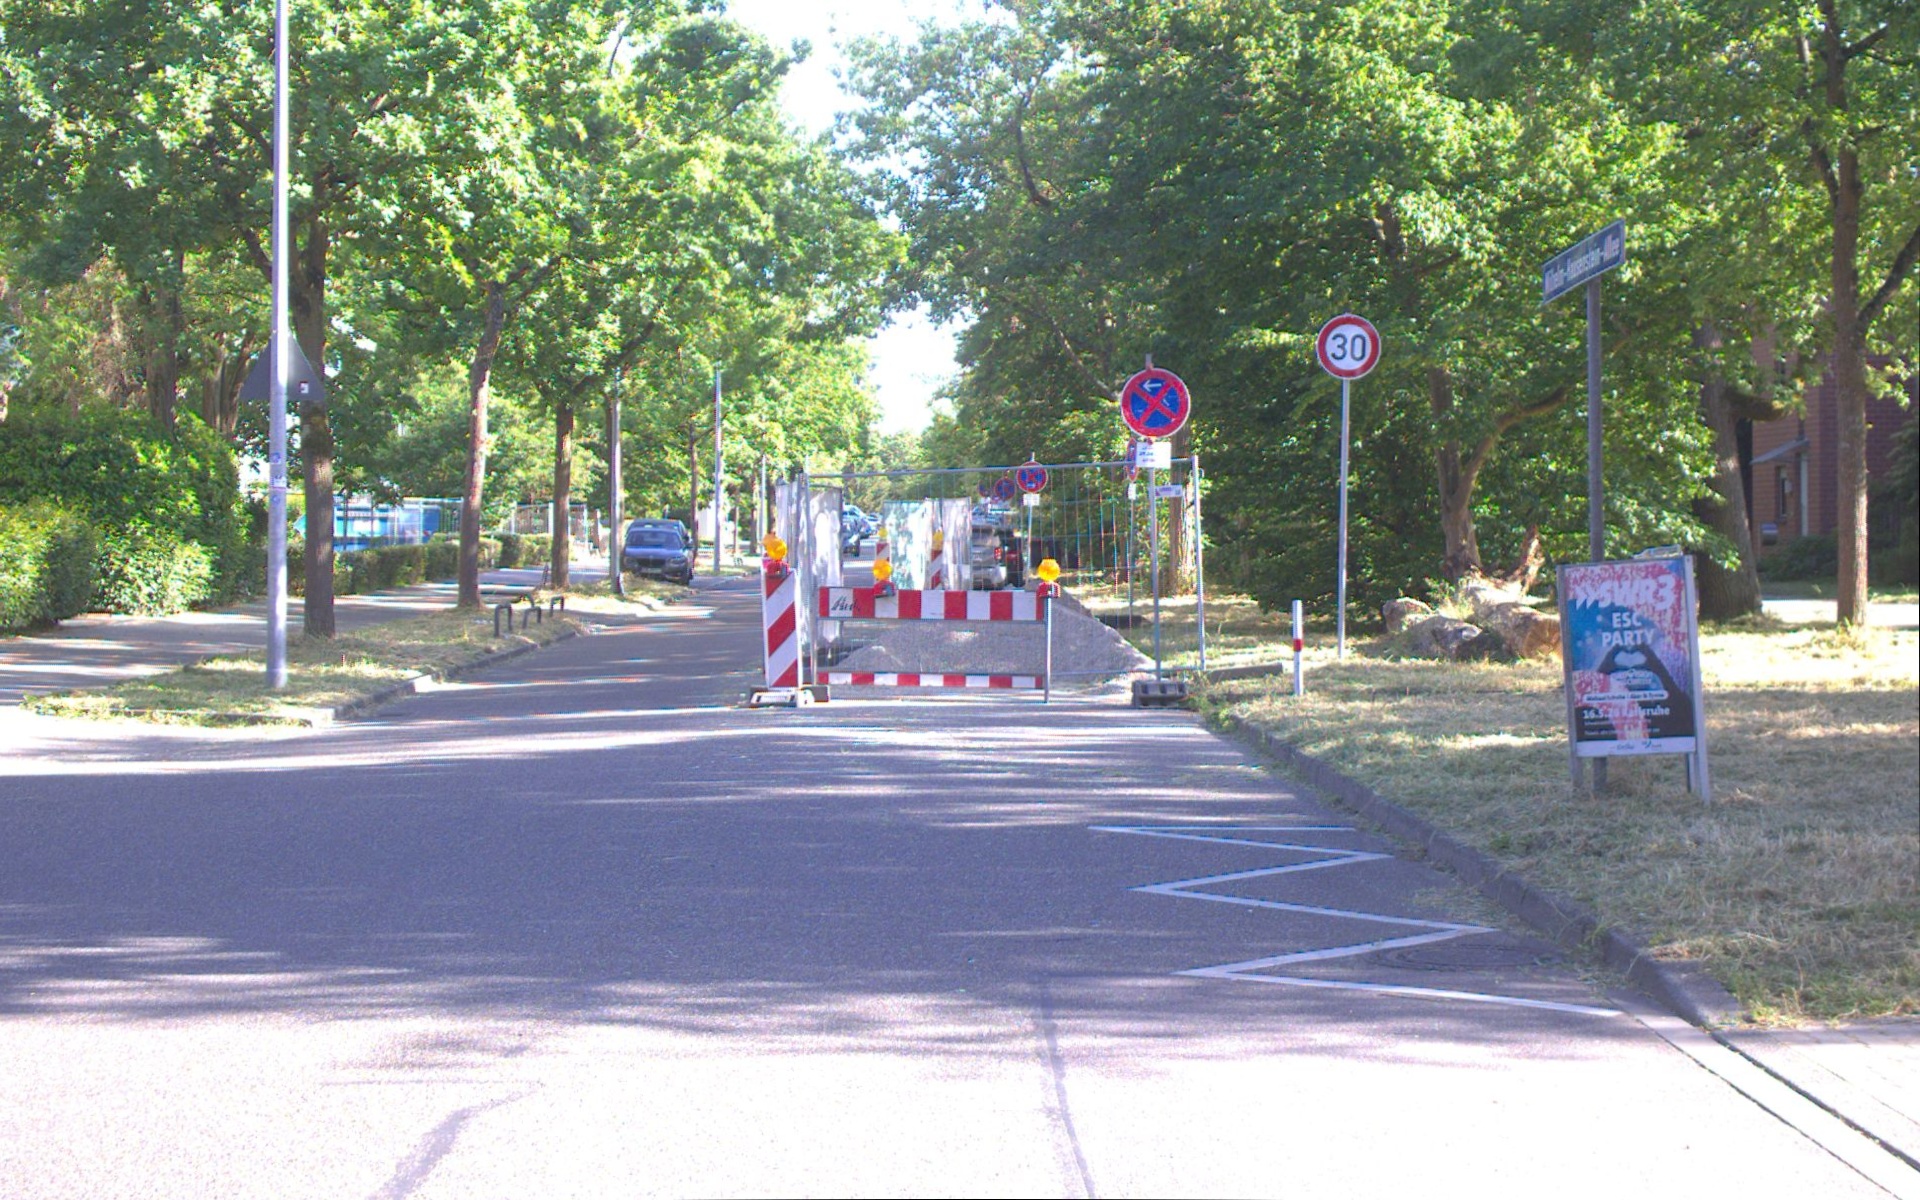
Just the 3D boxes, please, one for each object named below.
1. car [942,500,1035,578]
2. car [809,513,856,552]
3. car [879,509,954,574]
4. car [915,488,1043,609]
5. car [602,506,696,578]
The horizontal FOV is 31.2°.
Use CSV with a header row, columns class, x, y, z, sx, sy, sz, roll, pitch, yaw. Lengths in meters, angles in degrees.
class,x,y,z,sx,sy,sz,roll,pitch,yaw
car,0.625,-1.400,77.886,1.993,1.710,4.000,0,1,-1
car,-5.597,-2.990,151.558,1.993,1.710,4.000,0,1,-1
car,-1.192,-1.598,93.635,1.993,1.710,4.000,0,1,-1
car,0.278,-0.867,57.001,1.993,1.926,4.000,0,1,-1
car,-7.569,-1.433,83.977,1.993,1.710,4.000,0,1,-1
